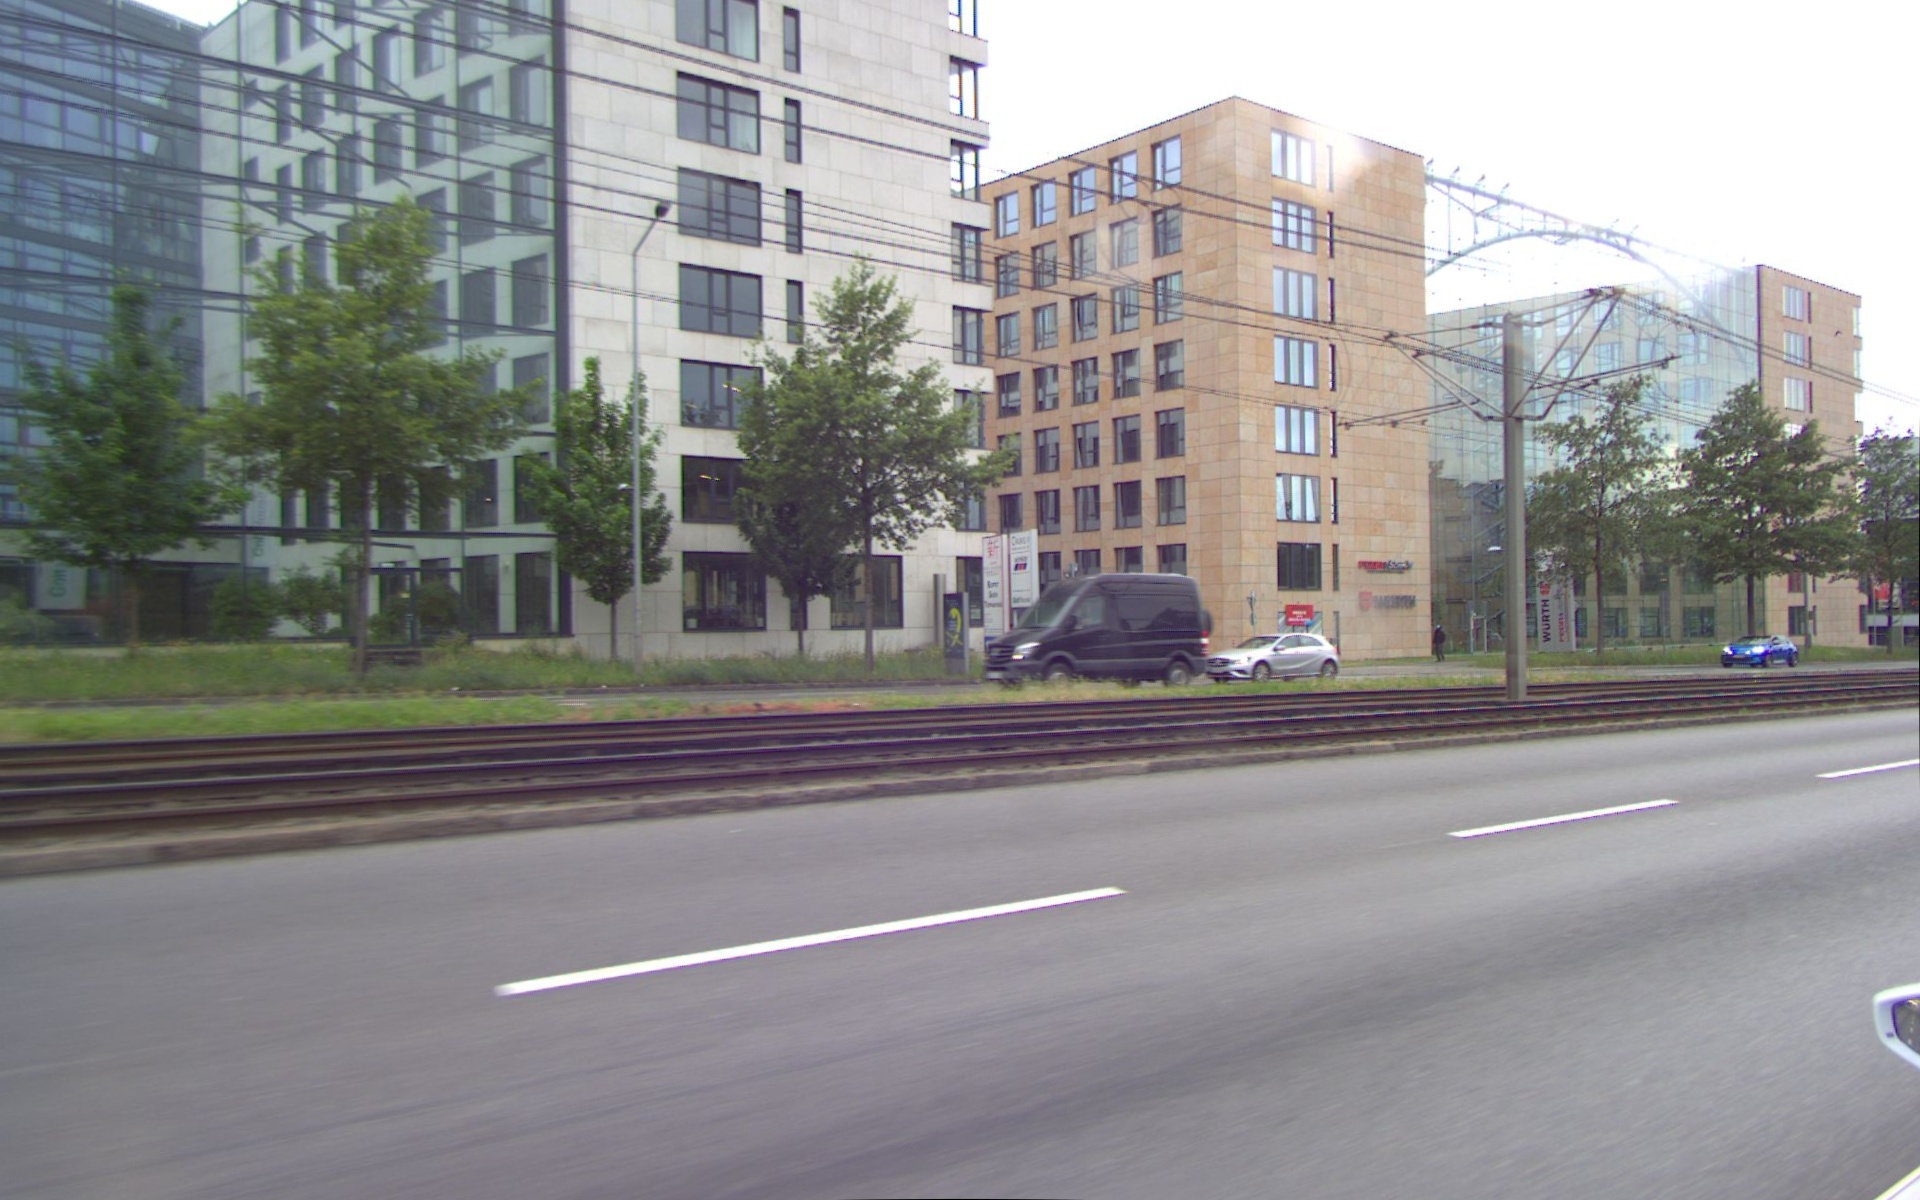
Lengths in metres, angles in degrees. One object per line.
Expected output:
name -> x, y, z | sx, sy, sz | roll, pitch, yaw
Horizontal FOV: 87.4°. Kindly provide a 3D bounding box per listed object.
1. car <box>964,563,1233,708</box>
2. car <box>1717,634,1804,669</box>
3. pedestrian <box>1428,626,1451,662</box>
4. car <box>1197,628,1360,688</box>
car -> 3.103, 0.765, 22.211 | 5.542, 2.855, 2.373 | 2, 0, -29
car -> 37.649, 2.435, 47.248 | 3.976, 1.473, 1.833 | 3, -1, -29
pedestrian -> 22.964, 2.114, 48.124 | 0.823, 1.653, 0.638 | 3, -1, -32
car -> 9.292, 1.645, 29.189 | 4.759, 1.554, 1.751 | 1, 0, -30
